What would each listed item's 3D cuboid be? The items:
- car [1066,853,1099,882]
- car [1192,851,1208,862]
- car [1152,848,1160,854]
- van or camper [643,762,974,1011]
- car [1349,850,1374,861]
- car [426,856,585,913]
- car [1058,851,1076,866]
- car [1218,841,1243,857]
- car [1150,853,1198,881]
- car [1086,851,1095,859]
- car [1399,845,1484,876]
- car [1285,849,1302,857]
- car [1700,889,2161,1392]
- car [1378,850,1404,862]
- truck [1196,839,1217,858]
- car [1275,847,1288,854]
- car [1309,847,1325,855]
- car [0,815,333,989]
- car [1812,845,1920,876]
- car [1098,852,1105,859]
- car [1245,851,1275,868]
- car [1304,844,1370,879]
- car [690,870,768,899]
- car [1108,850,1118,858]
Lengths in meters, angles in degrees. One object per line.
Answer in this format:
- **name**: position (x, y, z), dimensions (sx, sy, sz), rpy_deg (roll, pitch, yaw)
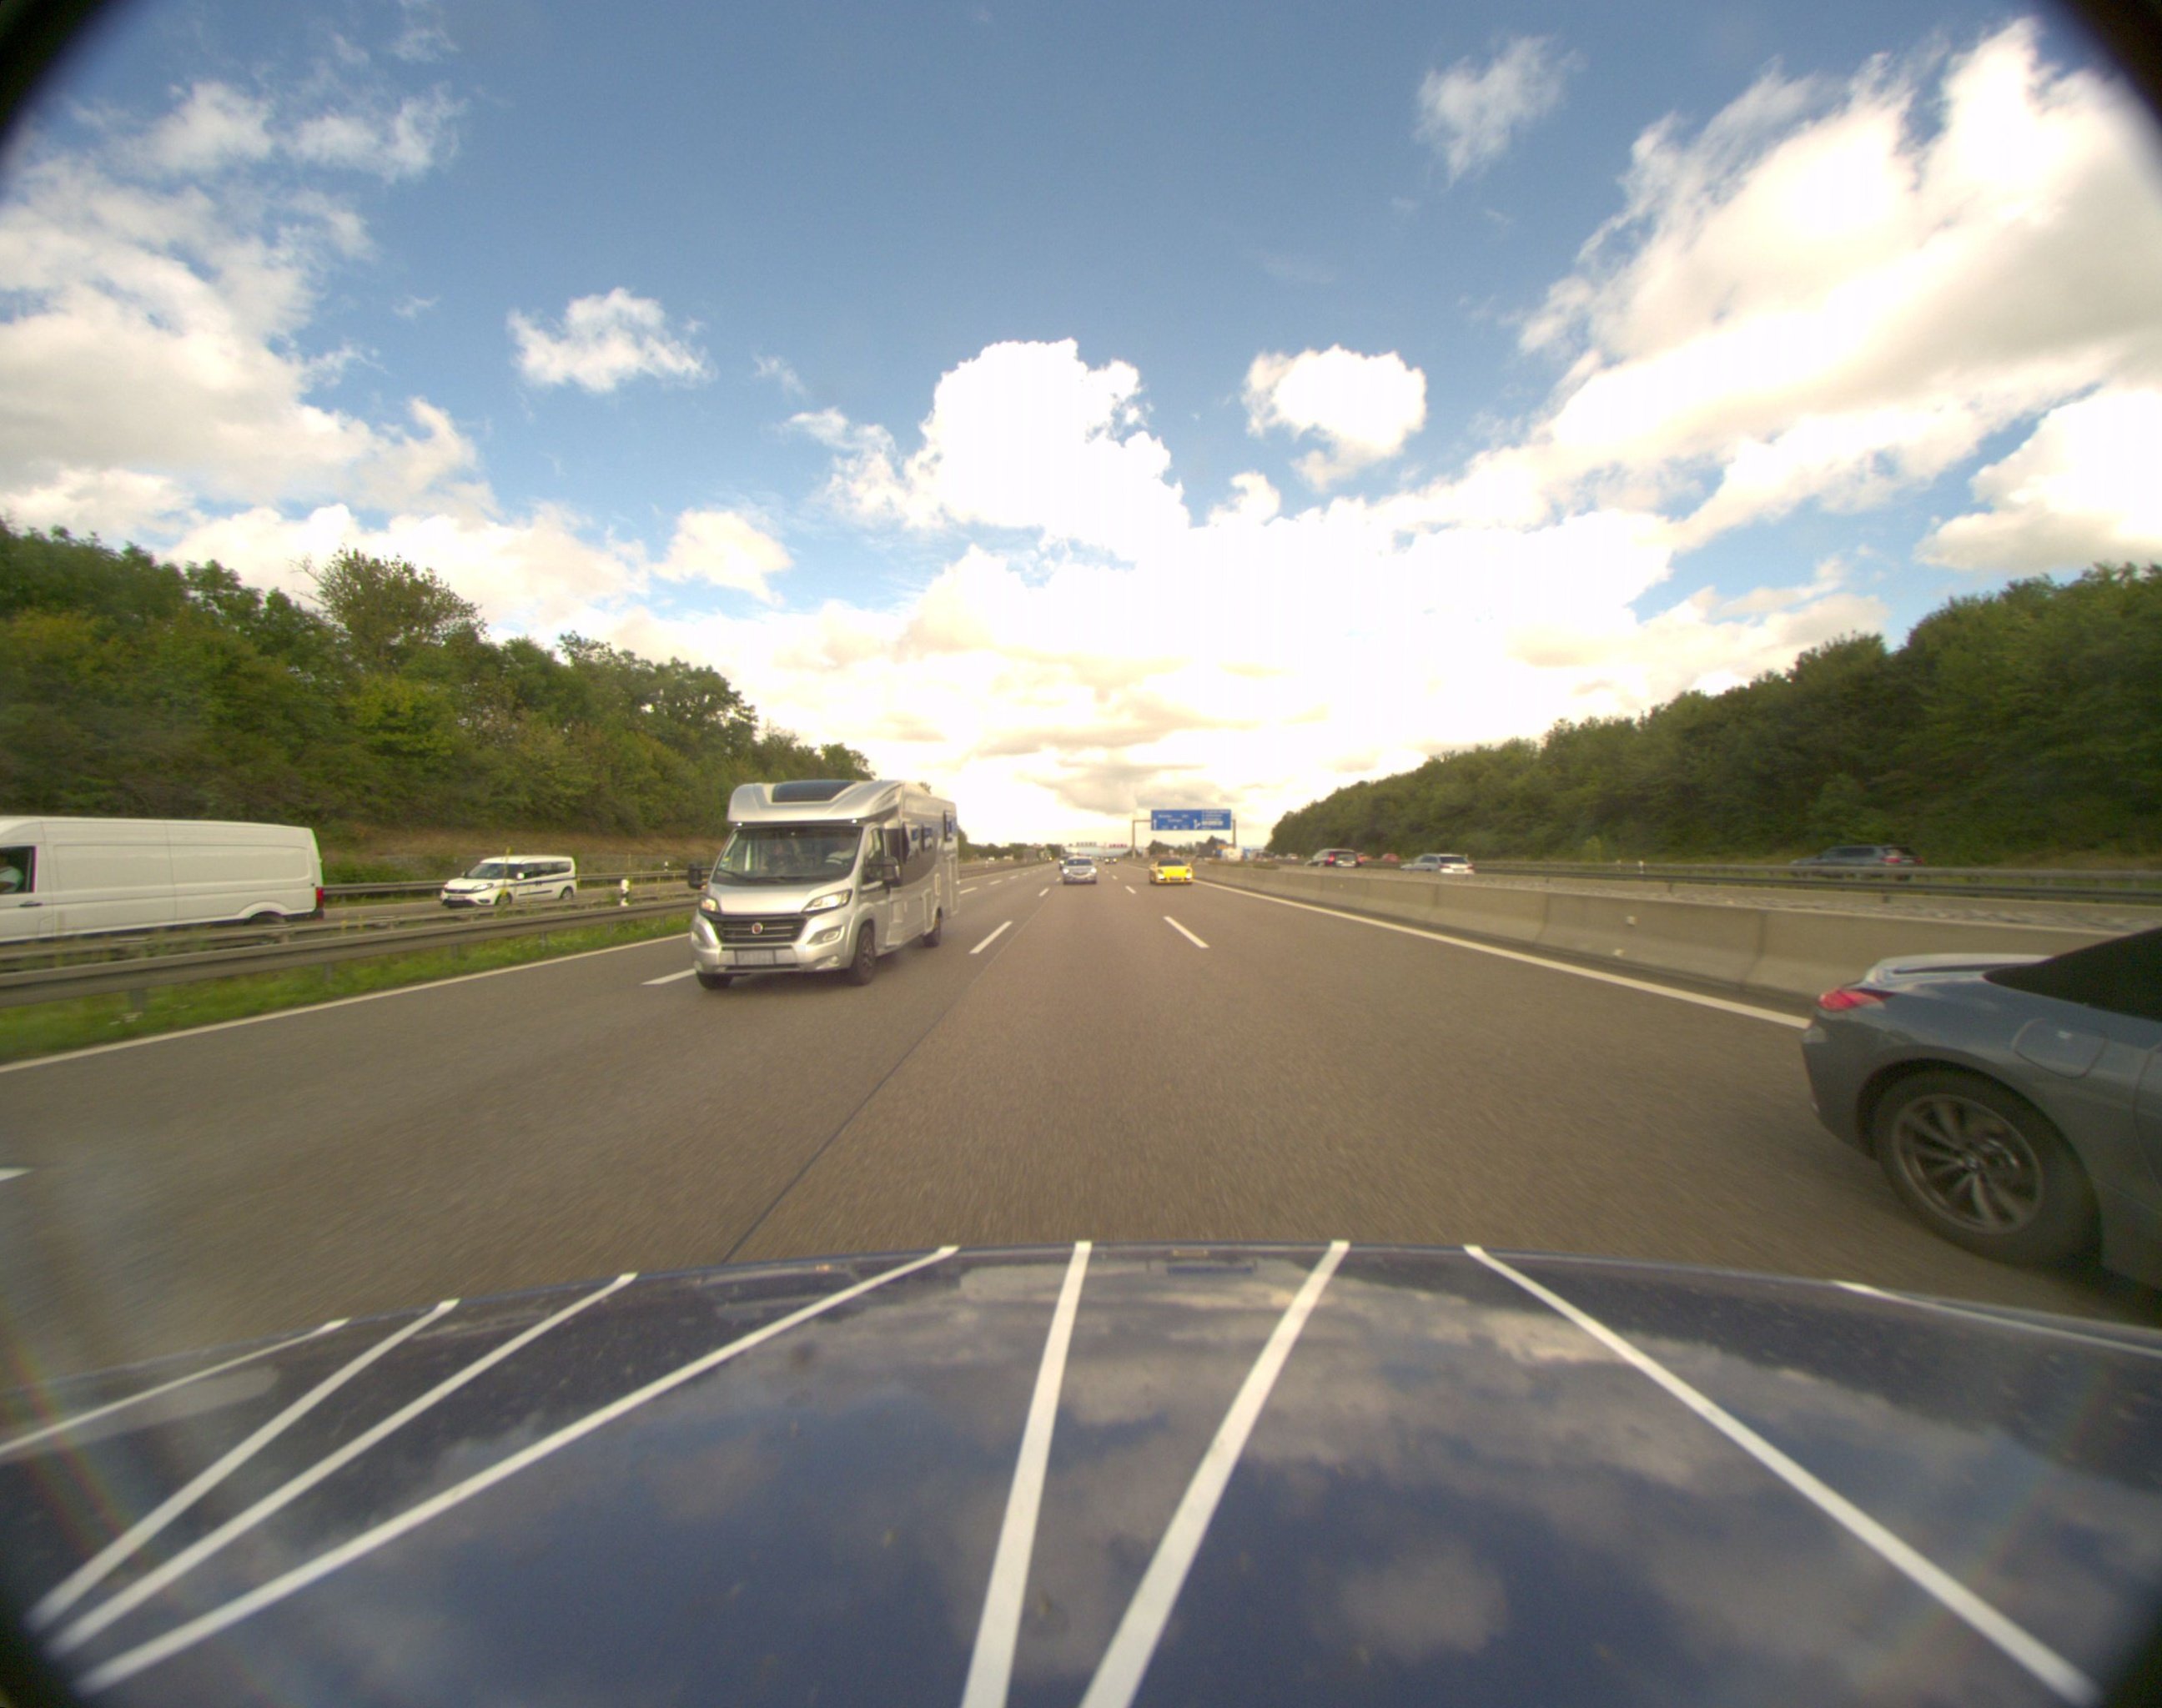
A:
- **car**: position (0.073, 0.697, 42.009), dimensions (1.688, 1.476, 4.615), rpy_deg (-2, 0, 0)
- **car**: position (17.822, 0.370, 114.162), dimensions (1.741, 1.502, 4.051), rpy_deg (-1, 0, 0)
- **car**: position (22.527, -0.798, 228.469), dimensions (1.839, 1.775, 5.503), rpy_deg (-1, 0, 0)
- **van or camper**: position (-3.596, 0.351, 12.361), dimensions (2.475, 2.706, 7.661), rpy_deg (-2, 0, 0)
- **car**: position (34.899, 0.152, 94.607), dimensions (1.567, 1.357, 4.051), rpy_deg (-1, 0, 0)
- **car**: position (-20.004, 0.973, 26.728), dimensions (1.848, 1.741, 4.764), rpy_deg (-2, 0, 1)
- **car**: position (-1.603, 0.441, 87.223), dimensions (1.876, 1.626, 4.859), rpy_deg (-2, 0, 0)
- **car**: position (21.078, -0.701, 107.351), dimensions (2.170, 2.258, 6.460), rpy_deg (-1, 0, 0)
- **car**: position (4.502, 0.606, 37.403), dimensions (1.811, 1.307, 4.247), rpy_deg (0, 0, 0)
- **car**: position (2.066, 0.181, 165.601), dimensions (1.737, 1.608, 4.000), rpy_deg (-1, 0, 1)
- **car**: position (16.799, 0.271, 35.703), dimensions (1.775, 1.287, 4.675), rpy_deg (-2, 0, 0)
- **car**: position (35.873, -0.150, 128.331), dimensions (1.567, 1.357, 4.051), rpy_deg (-1, 0, 0)
- **car**: position (3.987, 0.859, 1.275), dimensions (1.878, 1.295, 4.942), rpy_deg (-2, 0, 0)
- **car**: position (38.705, 0.226, 94.989), dimensions (1.567, 1.357, 4.051), rpy_deg (-1, 0, 0)
- **truck**: position (22.043, -0.921, 134.033), dimensions (2.359, 3.245, 7.825), rpy_deg (-1, 0, 0)
- **car**: position (43.662, -0.782, 165.617), dimensions (1.596, 1.486, 4.509), rpy_deg (-1, 0, 0)
- **car**: position (43.633, -0.571, 140.685), dimensions (1.596, 1.486, 4.180), rpy_deg (-1, 0, 0)
- **car**: position (-16.793, 0.710, 12.574), dimensions (2.075, 2.539, 6.742), rpy_deg (-1, 0, 0)
- **car**: position (38.604, 0.304, 37.497), dimensions (1.469, 1.418, 3.760), rpy_deg (-1, 0, 0)
- **car**: position (6.078, 0.554, 223.241), dimensions (1.998, 2.002, 4.589), rpy_deg (-1, 0, 1)
- **car**: position (16.999, 0.485, 72.310), dimensions (1.779, 1.552, 4.780), rpy_deg (-1, 1, 0)
- **car**: position (12.765, 0.361, 38.183), dimensions (1.776, 1.601, 4.465), rpy_deg (-2, 0, 0)
- **car**: position (-16.623, 1.399, 36.102), dimensions (1.716, 1.175, 4.168), rpy_deg (-2, 0, 0)
- **car**: position (5.390, 0.011, 129.628), dimensions (1.593, 1.307, 3.978), rpy_deg (0, 0, 0)
